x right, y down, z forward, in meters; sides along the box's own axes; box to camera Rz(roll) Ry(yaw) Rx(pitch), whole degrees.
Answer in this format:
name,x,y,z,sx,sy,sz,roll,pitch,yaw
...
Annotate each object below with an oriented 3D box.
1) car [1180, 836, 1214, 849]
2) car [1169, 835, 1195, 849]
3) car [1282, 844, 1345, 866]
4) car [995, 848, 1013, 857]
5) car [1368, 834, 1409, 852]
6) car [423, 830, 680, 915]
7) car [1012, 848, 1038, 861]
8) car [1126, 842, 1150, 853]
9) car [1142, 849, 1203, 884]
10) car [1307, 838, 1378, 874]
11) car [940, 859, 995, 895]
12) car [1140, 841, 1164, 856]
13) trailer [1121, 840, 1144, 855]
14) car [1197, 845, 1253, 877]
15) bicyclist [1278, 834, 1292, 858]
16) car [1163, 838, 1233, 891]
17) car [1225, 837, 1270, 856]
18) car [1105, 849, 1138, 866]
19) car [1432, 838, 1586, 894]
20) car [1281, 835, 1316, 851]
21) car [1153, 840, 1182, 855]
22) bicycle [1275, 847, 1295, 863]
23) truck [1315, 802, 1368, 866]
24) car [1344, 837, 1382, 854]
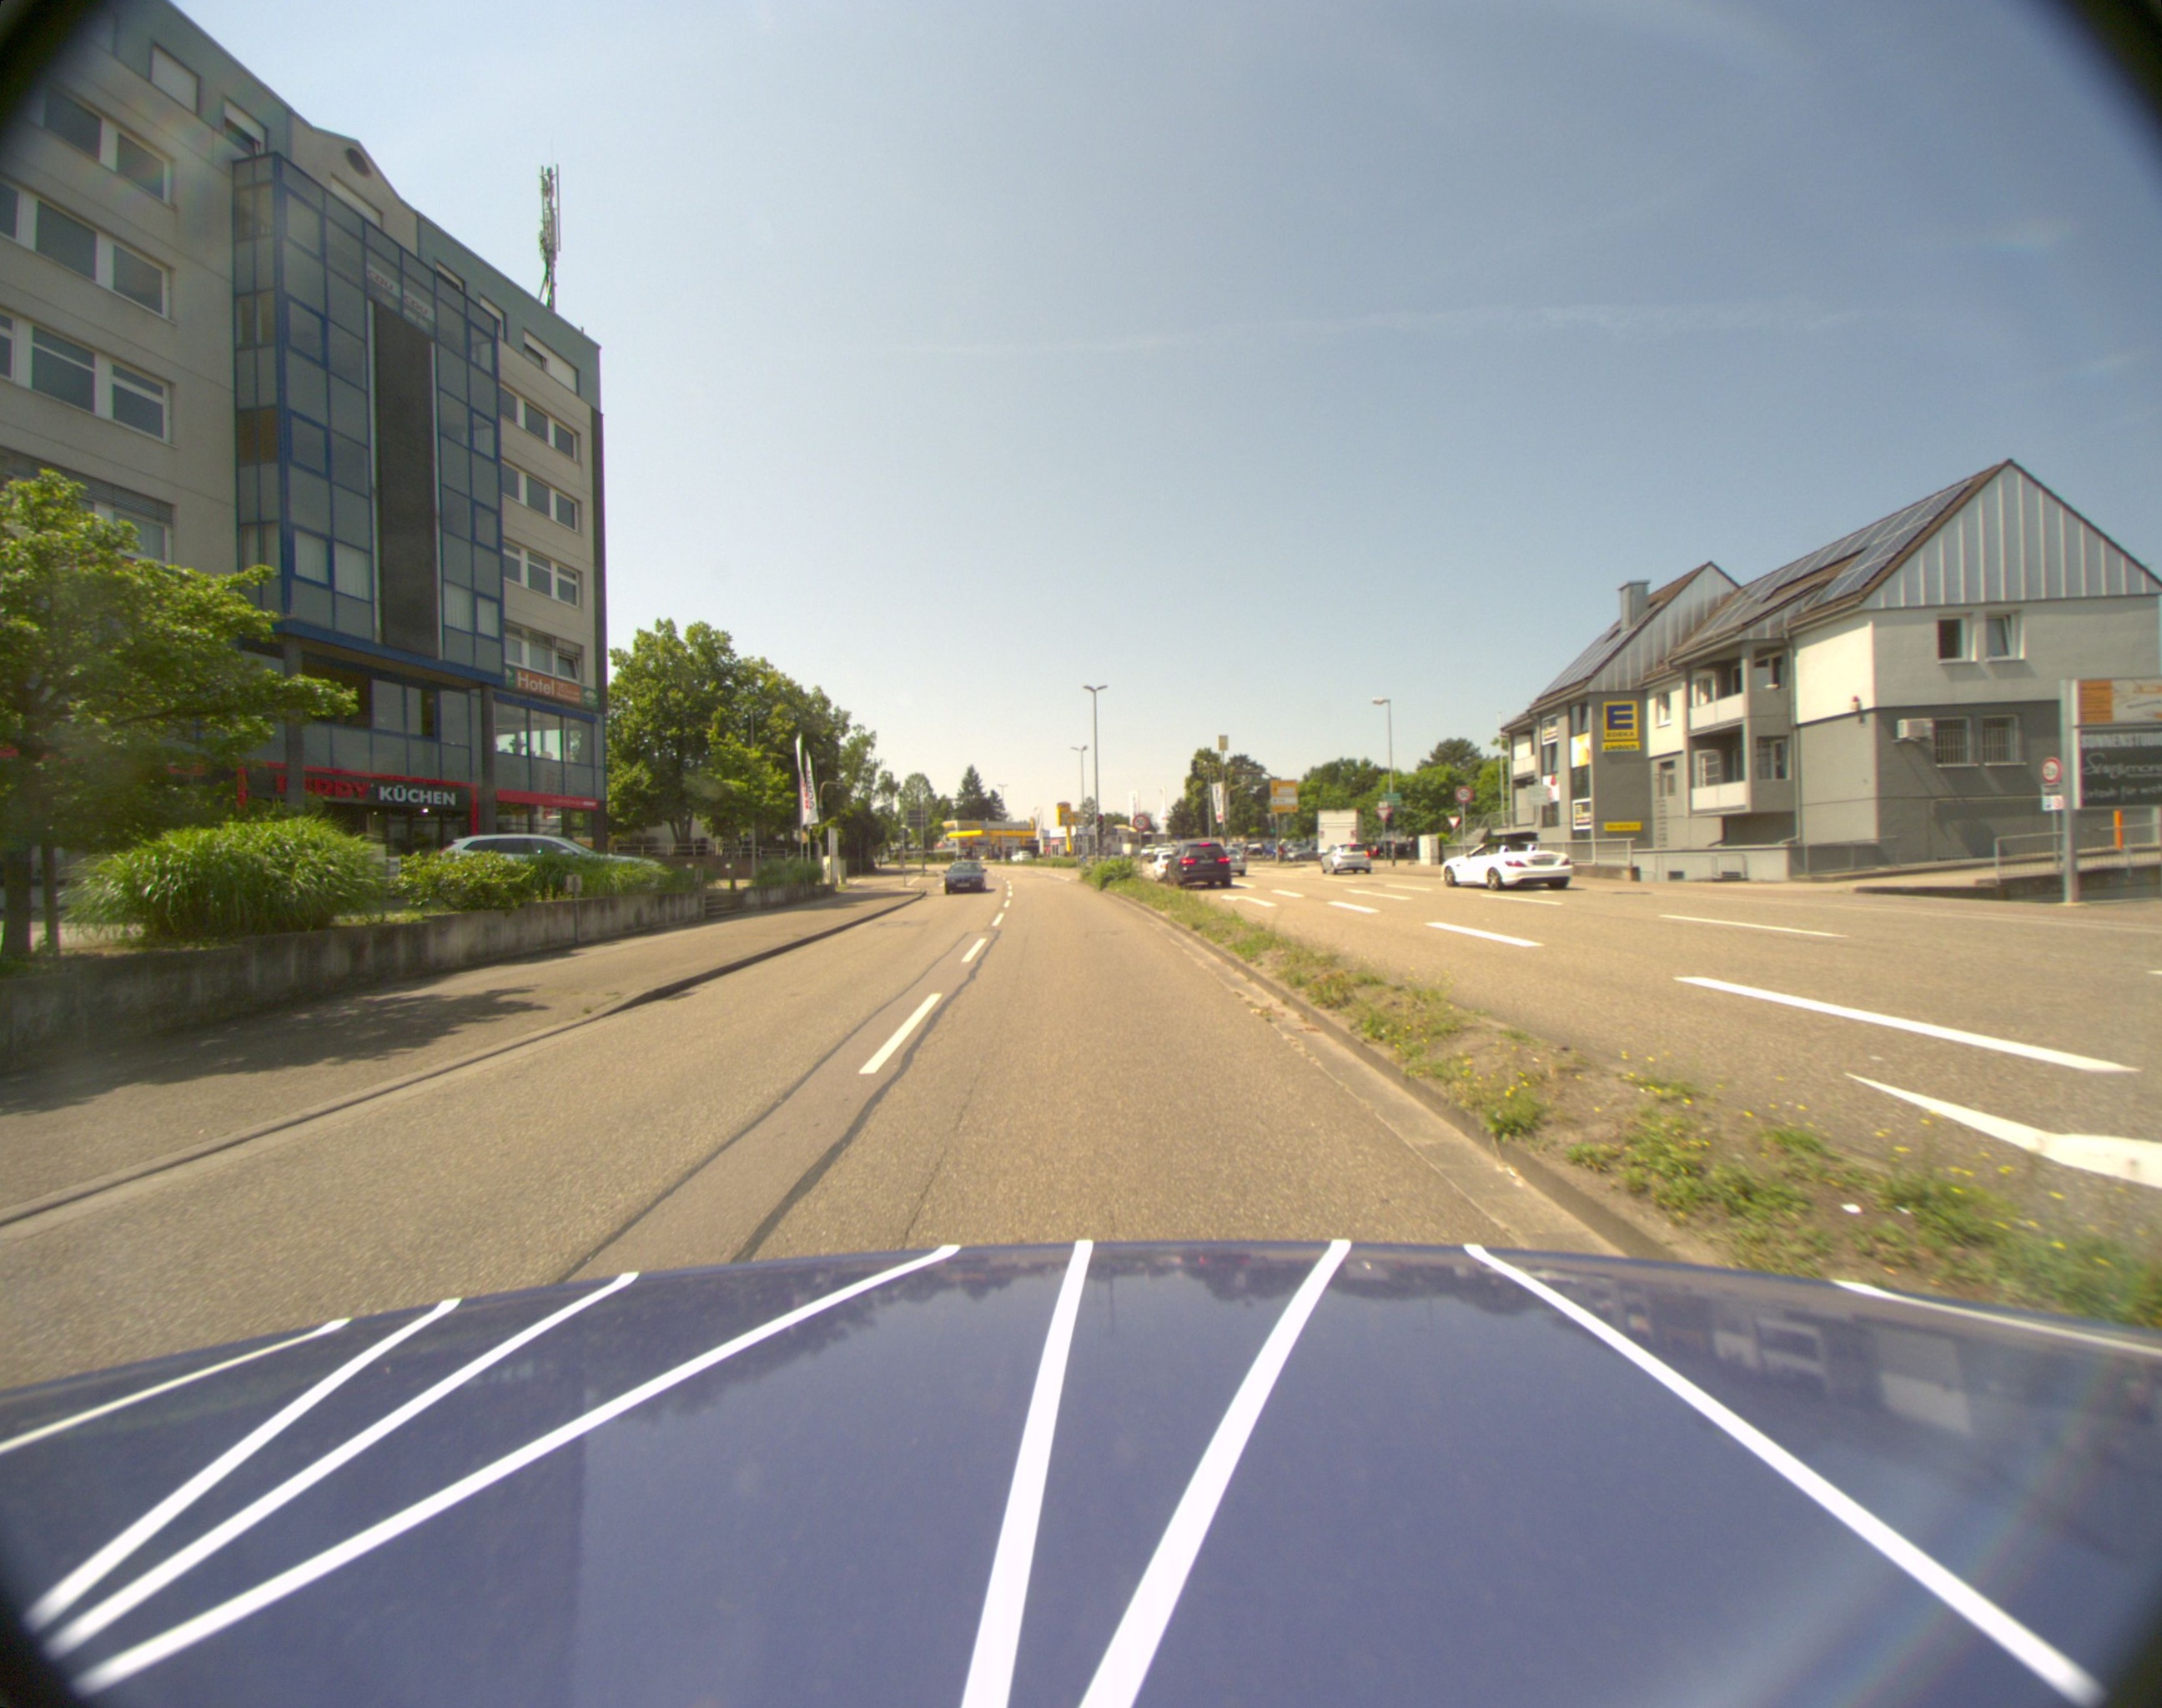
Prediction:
name,x,y,z,sx,sy,sz,roll,pitch,yaw
car,15.770,-1.511,103.565,1.697,1.640,4.746,-3,1,-33
car,11.333,-1.365,85.001,1.712,1.424,3.968,0,2,26
car,19.646,0.062,64.275,4.763,1.601,1.760,-3,2,-9
car,-14.919,-0.269,147.047,1.659,1.534,4.203,-4,2,-32
car,32.264,-1.156,79.807,2.000,1.740,3.995,-3,1,-12
car,-12.732,0.389,18.713,4.744,1.704,1.996,-3,2,-20
car,-7.469,0.034,100.774,1.825,1.561,4.547,-3,0,-25
car,8.386,-0.991,111.616,1.697,1.497,3.622,-2,1,-31
car,4.088,0.500,34.751,1.868,1.423,4.742,-2,1,-4
car,12.439,0.041,36.420,1.902,1.557,4.196,-2,1,-1
car,-4.951,0.955,33.619,1.697,1.365,4.000,-2,1,1
car,8.348,-0.666,89.241,1.754,1.501,3.825,-2,1,22
trailer,6.251,-0.818,92.648,1.689,1.694,2.439,-1,1,35
car,7.108,0.297,37.992,1.902,1.353,4.196,-3,2,-1
bicyclist,13.973,-0.547,52.054,0.422,1.633,0.820,-3,0,-17
car,4.314,0.324,28.728,1.914,1.741,4.758,-3,1,0
car,17.308,-0.762,79.142,4.299,1.891,1.832,0,3,24
car,3.495,0.283,65.606,1.869,1.358,4.342,0,0,-11
car,11.558,0.279,20.927,1.809,1.346,4.355,-2,1,1
car,22.269,-1.149,77.891,1.796,1.528,3.995,-3,1,-12
car,9.943,-0.735,87.084,1.914,1.532,3.968,-2,2,27
bicycle,13.935,0.067,51.984,0.422,1.048,1.787,-2,1,-17
truck,15.637,-1.199,45.295,2.267,3.398,7.048,-3,1,24
car,29.645,-0.899,79.911,1.869,1.674,3.995,-3,1,-12
